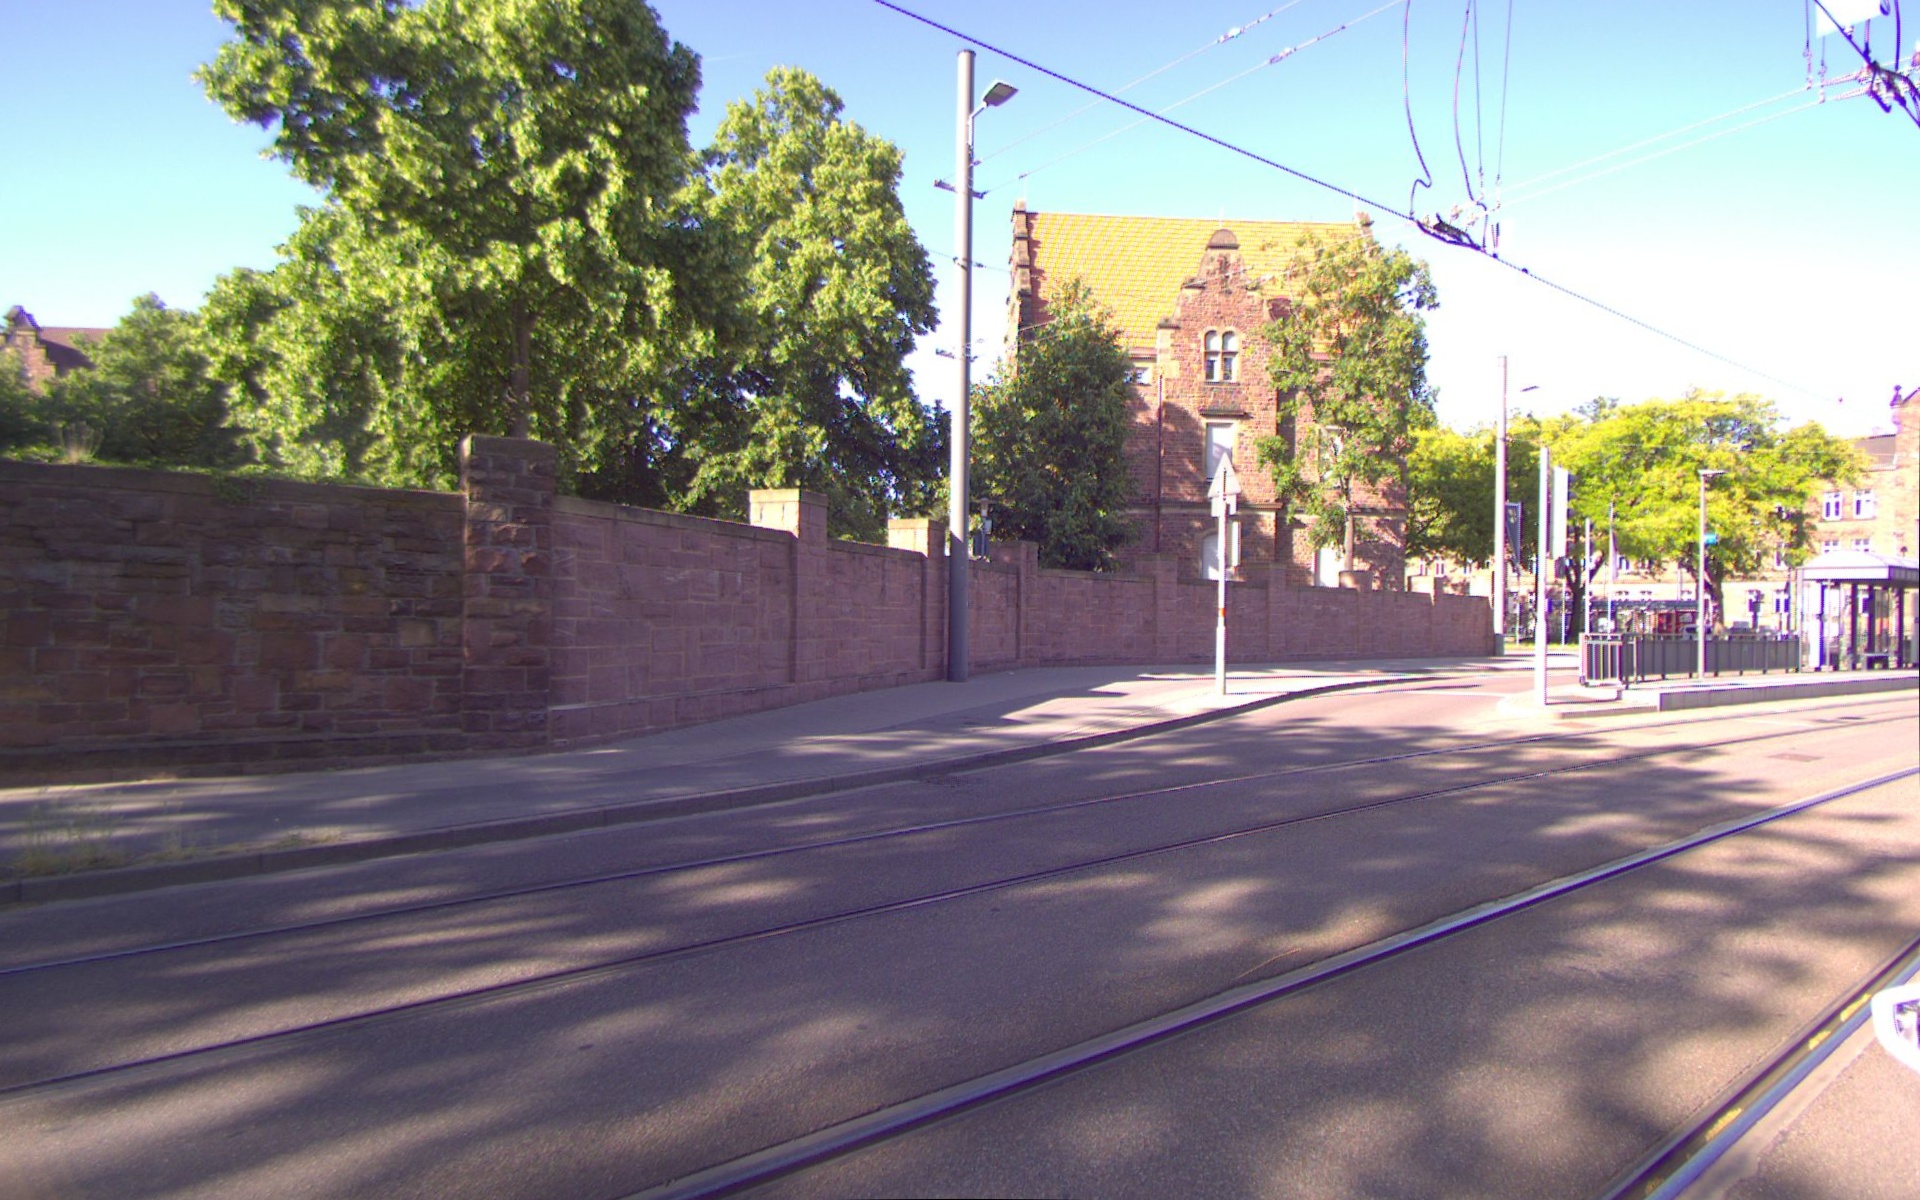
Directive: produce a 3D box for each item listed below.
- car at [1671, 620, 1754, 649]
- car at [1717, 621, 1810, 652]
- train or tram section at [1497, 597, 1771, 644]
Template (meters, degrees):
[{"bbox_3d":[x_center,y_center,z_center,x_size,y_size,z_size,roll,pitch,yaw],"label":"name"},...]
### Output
[{"bbox_3d":[49.184,2.239,65.680,1.798,1.651,3.964,2,0,-32],"label":"car"},{"bbox_3d":[47.758,2.157,59.796,1.798,1.651,3.964,2,0,-32],"label":"car"},{"bbox_3d":[50.035,1.455,75.885,3.312,3.196,17.280,2,-1,-33],"label":"train or tram section"}]
